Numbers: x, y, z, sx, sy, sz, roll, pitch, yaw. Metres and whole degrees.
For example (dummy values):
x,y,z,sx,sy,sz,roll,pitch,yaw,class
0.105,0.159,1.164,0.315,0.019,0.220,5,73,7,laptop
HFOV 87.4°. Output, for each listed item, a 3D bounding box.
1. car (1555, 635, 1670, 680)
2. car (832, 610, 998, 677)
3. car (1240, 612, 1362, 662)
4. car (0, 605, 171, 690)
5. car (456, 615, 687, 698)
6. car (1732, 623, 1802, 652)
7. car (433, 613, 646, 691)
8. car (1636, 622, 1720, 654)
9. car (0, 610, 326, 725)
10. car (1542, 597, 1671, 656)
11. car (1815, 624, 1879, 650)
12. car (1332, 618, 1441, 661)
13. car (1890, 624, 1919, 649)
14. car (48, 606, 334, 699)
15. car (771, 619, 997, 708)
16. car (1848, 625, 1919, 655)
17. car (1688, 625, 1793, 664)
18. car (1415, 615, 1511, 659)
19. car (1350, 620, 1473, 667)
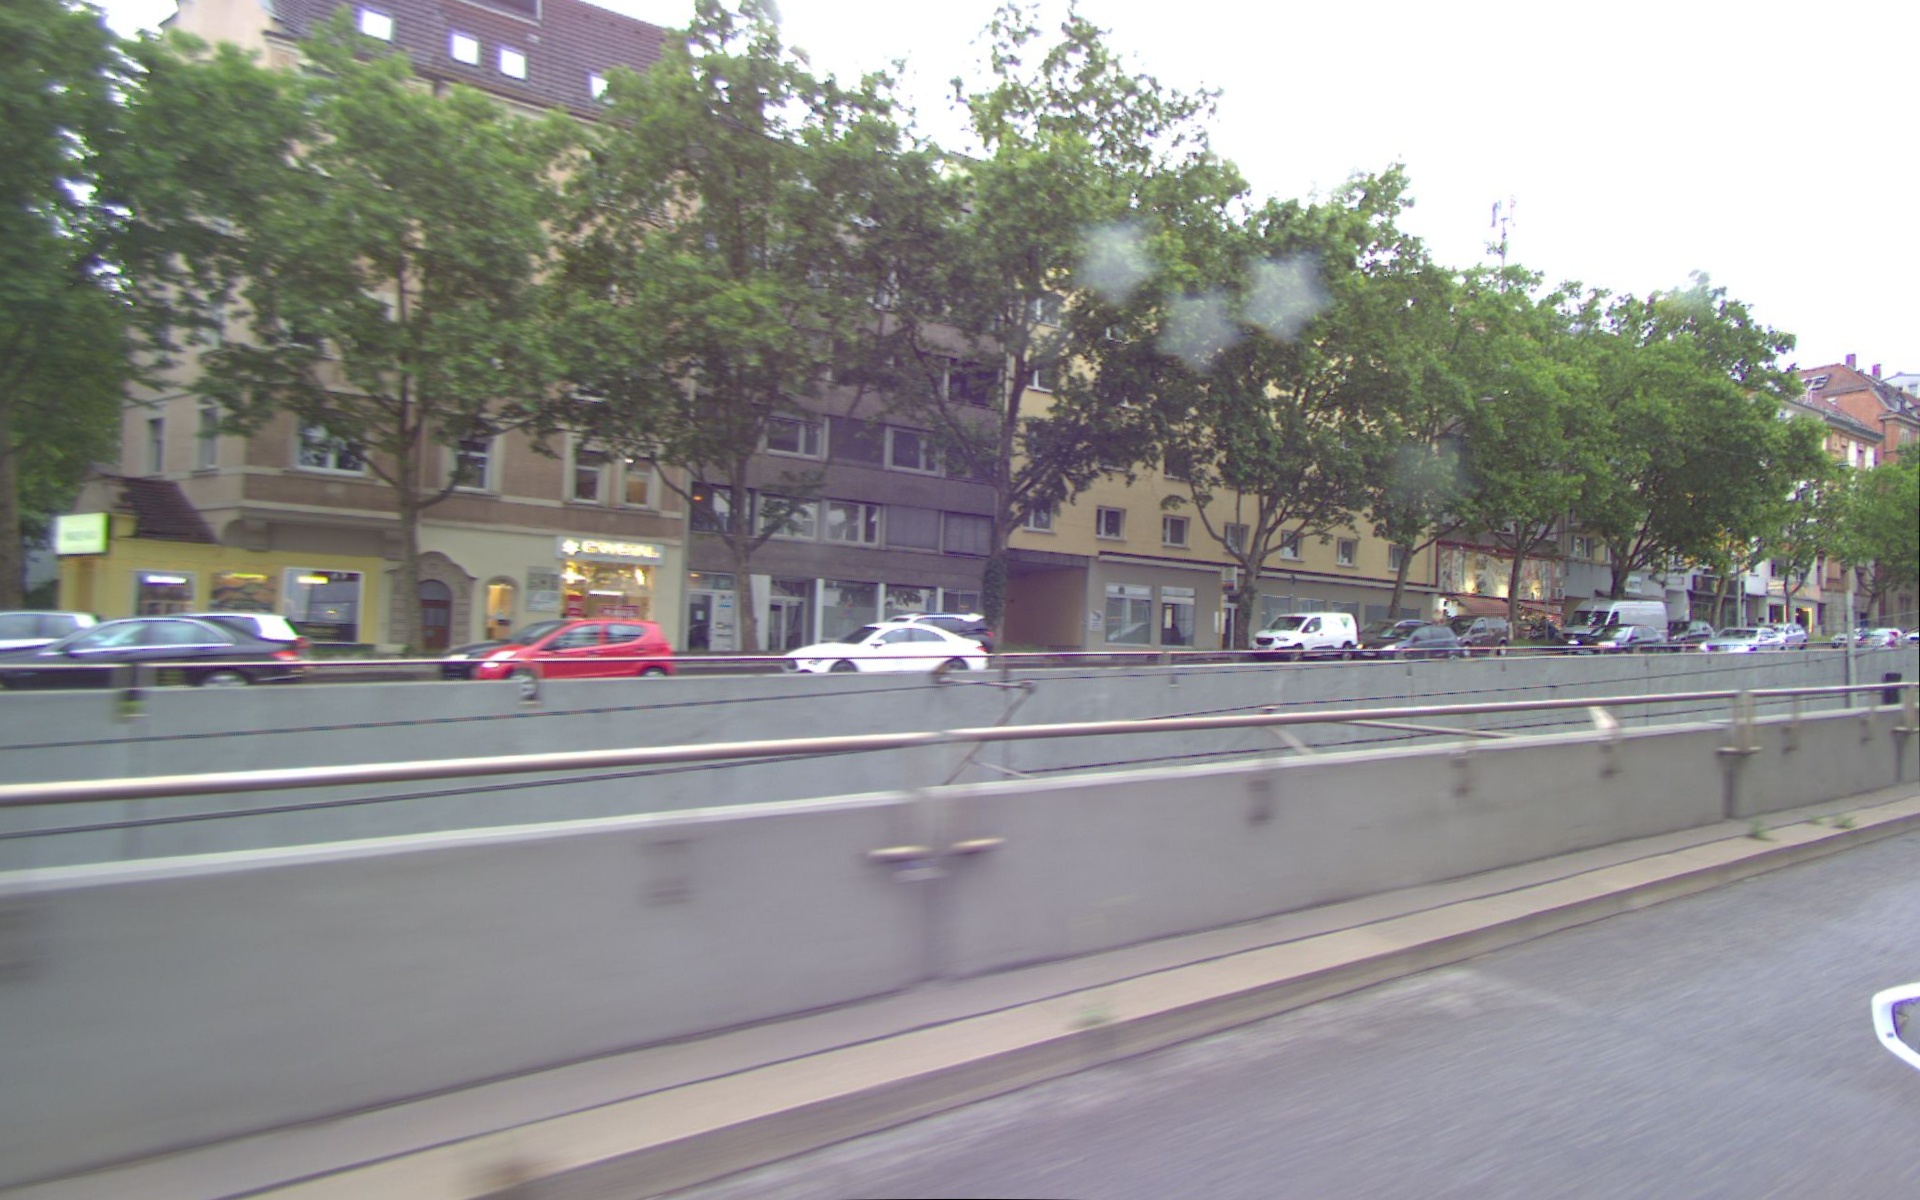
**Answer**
x,y,z,sx,sy,sz,roll,pitch,yaw,class
23.931,2.118,36.814,4.293,1.530,1.786,2,-2,-30,car
-1.151,1.097,26.178,3.969,1.601,1.786,1,0,-30,car
12.996,1.379,38.212,4.850,1.788,1.865,1,0,-34,car
-17.834,0.890,19.391,3.902,1.530,1.783,2,-1,-34,car
-7.281,1.047,18.919,3.837,1.419,1.576,2,-2,-32,car
46.402,2.146,57.744,4.158,1.592,1.786,1,0,-30,car
-9.026,1.089,21.641,3.959,1.530,1.783,2,-1,-34,car
37.144,1.935,51.947,4.617,1.530,1.785,1,0,-30,car
-12.581,0.989,15.376,4.786,1.578,1.783,2,-2,-34,car
31.429,1.267,48.794,6.850,2.698,2.441,1,0,-30,car
55.426,2.312,62.735,4.158,1.530,1.786,1,0,-30,car
17.266,1.557,40.608,4.422,1.604,1.867,1,0,-32,car
64.960,2.451,67.719,5.138,1.622,1.917,1,0,-31,car
-13.850,0.935,18.418,3.959,1.530,1.783,2,-2,-34,car
-1.640,1.378,22.279,4.675,1.793,1.786,2,-2,-30,car
51.132,2.198,55.509,3.966,1.530,1.839,1,0,-28,car
32.798,1.832,42.170,4.763,1.530,1.838,1,0,-30,car
21.475,1.547,42.850,4.160,1.752,1.784,1,0,-33,car
16.230,1.541,36.108,4.001,1.571,1.693,1,0,-21,car
